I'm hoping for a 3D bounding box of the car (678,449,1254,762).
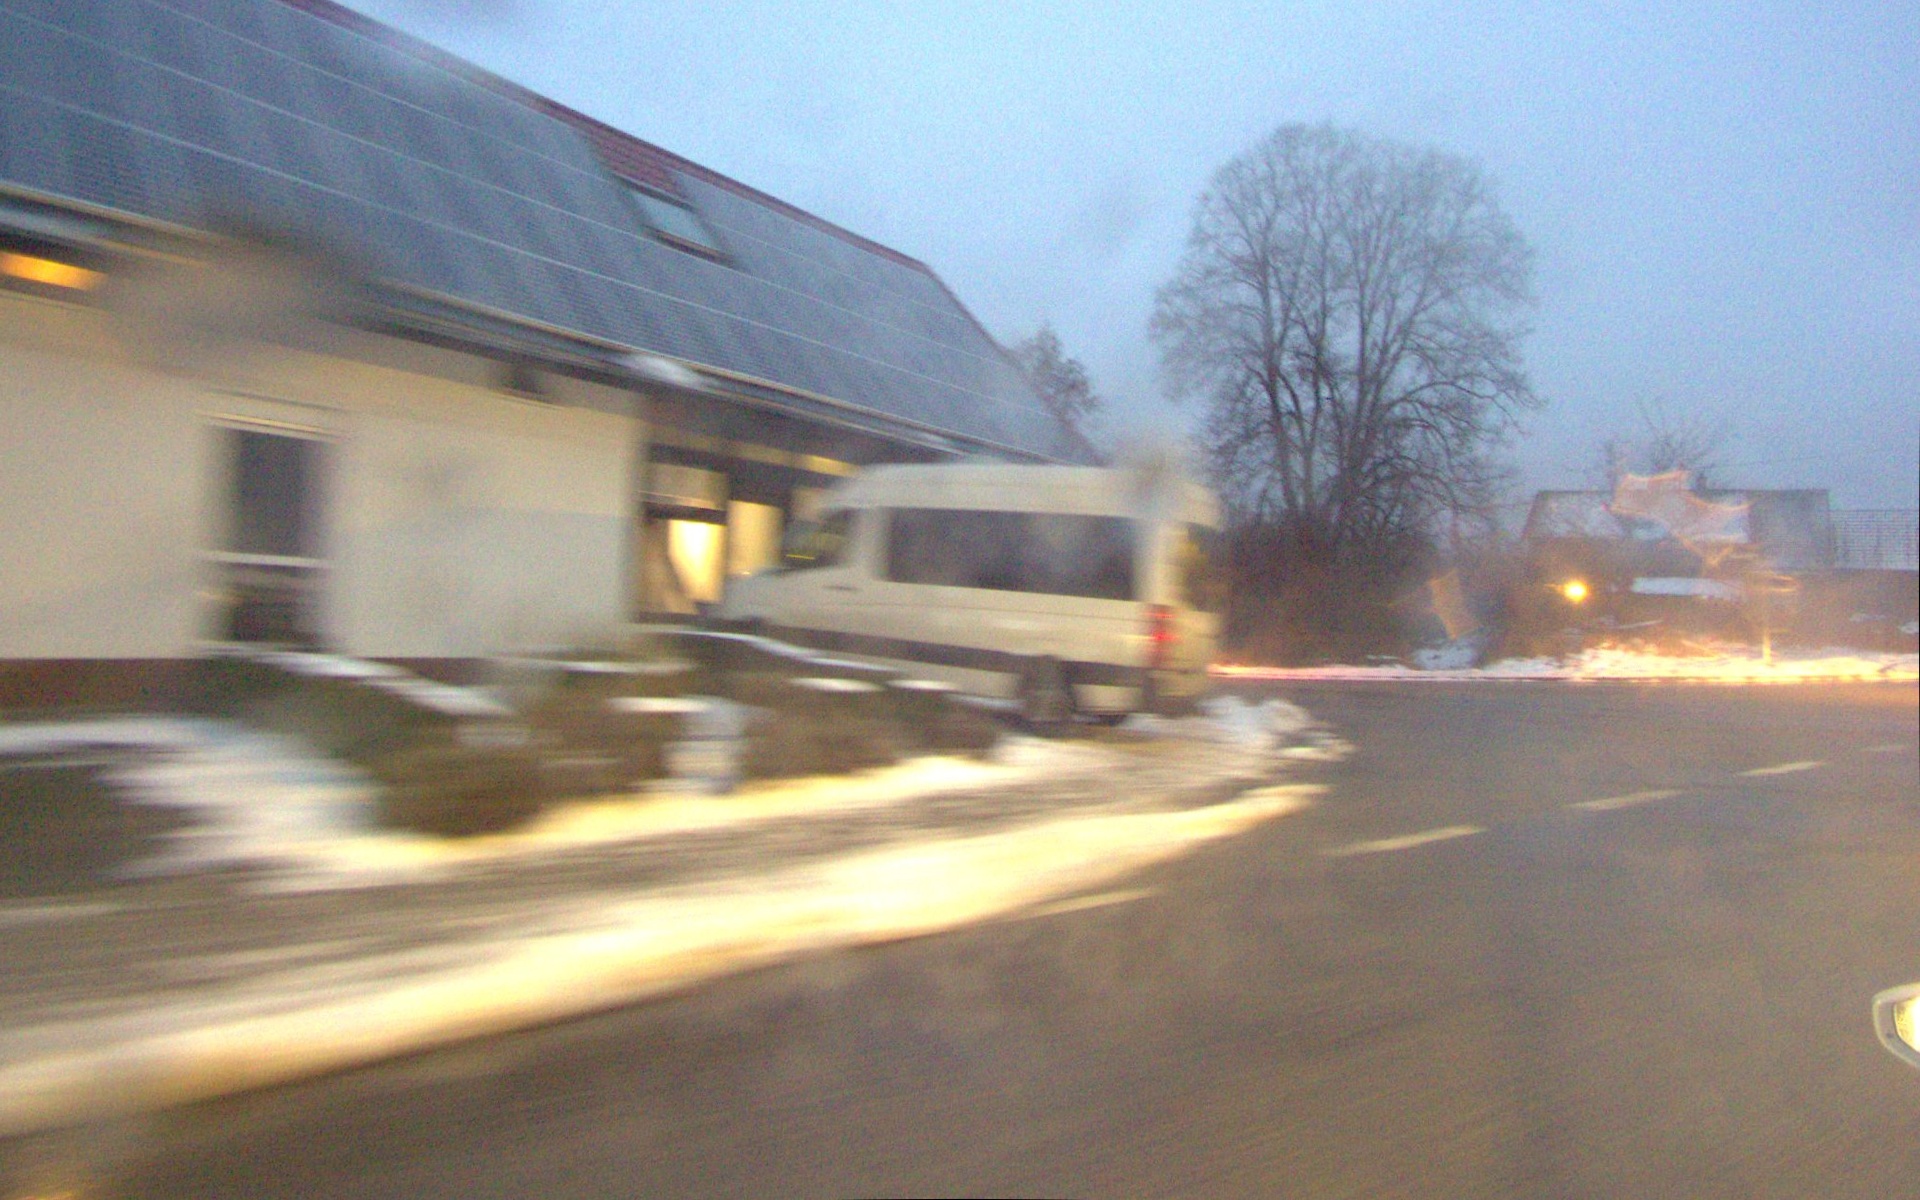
[{"bbox_3d":[-0.128,-0.149,11.140,6.007,2.587,1.996,7,2,30],"label":"car"}]

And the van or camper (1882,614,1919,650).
[{"bbox_3d":[32.424,1.107,33.992,1.265,1.116,3.264,3,-1,34],"label":"van or camper"}]
